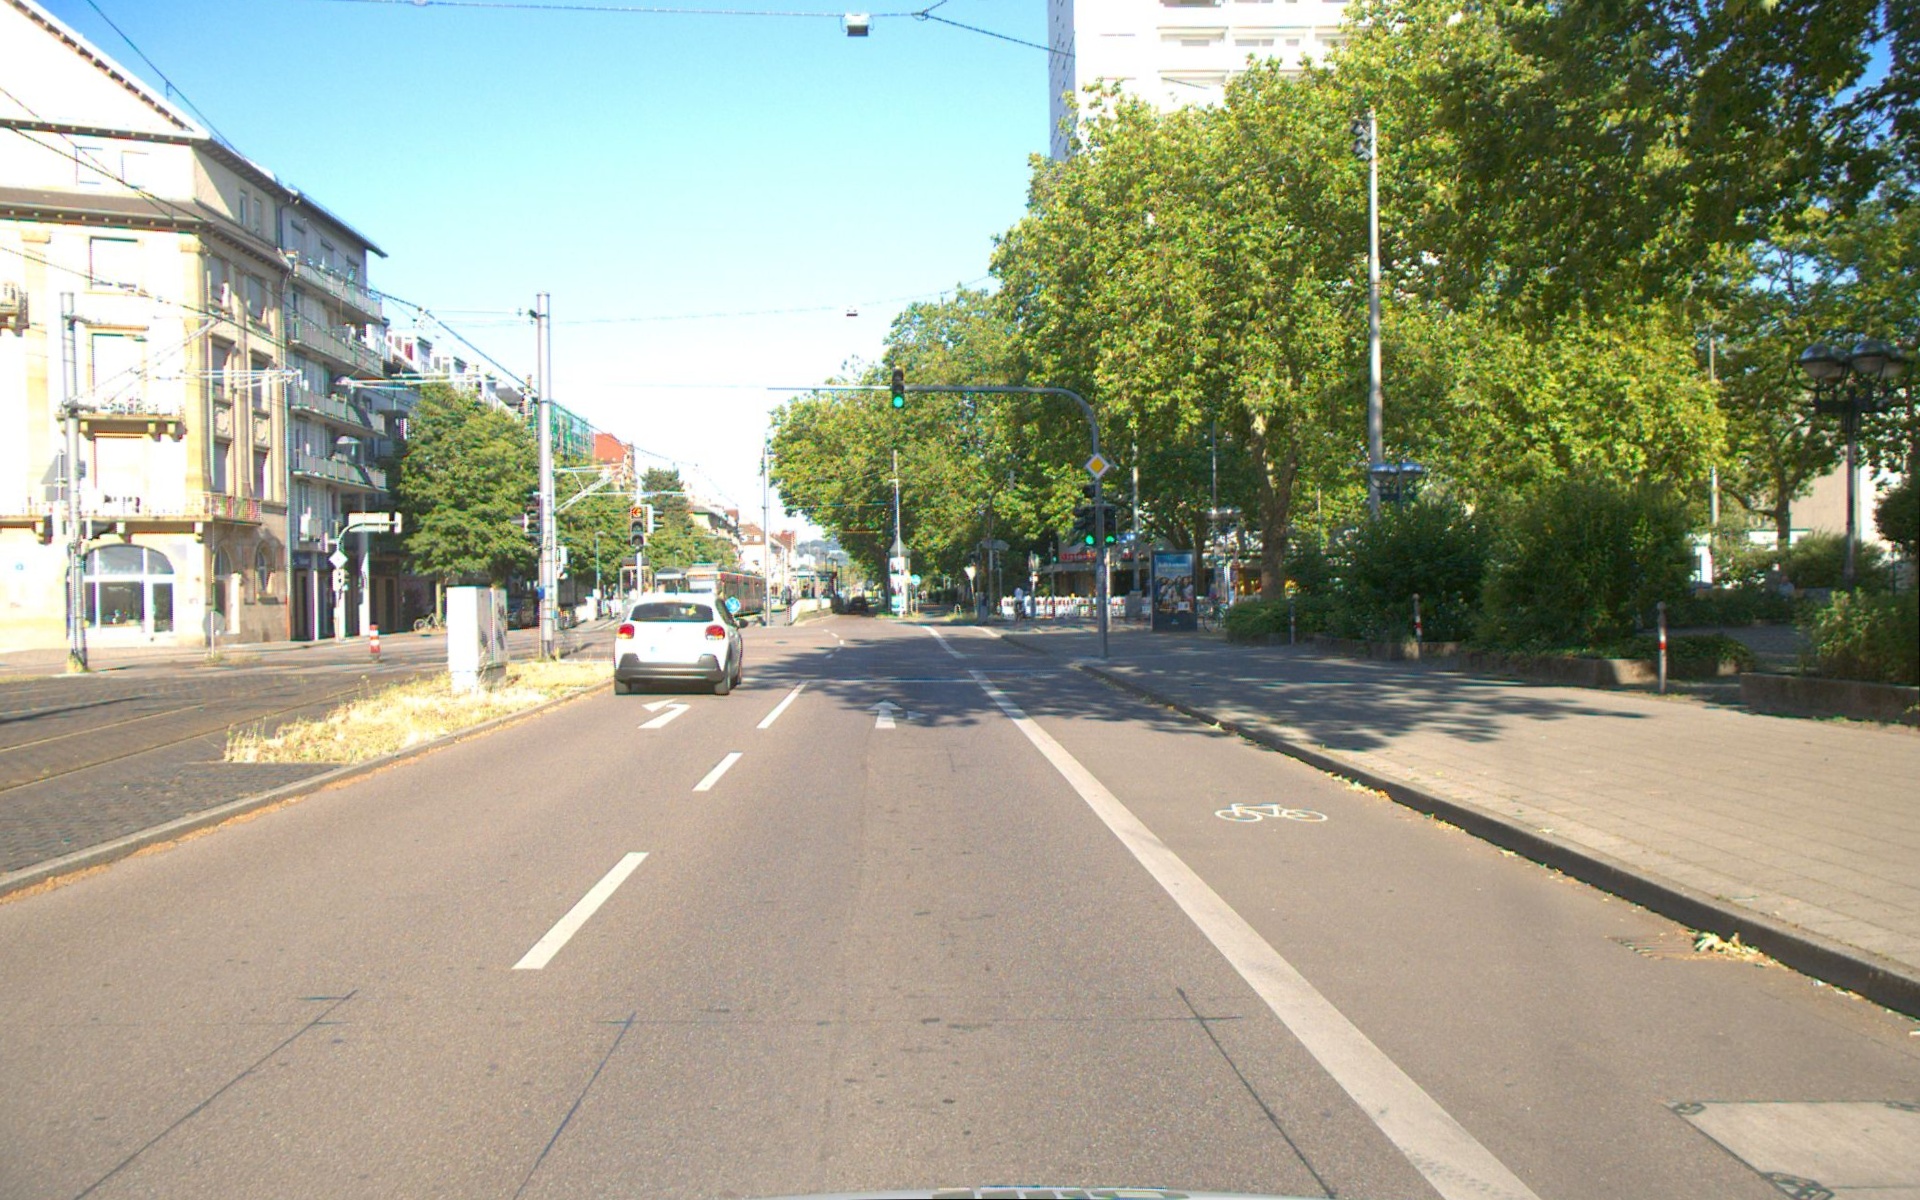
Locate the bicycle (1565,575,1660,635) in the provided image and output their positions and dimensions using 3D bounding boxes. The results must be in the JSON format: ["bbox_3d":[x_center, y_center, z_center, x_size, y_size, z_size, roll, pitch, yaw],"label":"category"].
[{"bbox_3d":[14.323,0.118,36.301,2.288,1.262,0.451,1,0,-24],"label":"bicycle"}]

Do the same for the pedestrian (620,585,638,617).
[{"bbox_3d":[-19.430,0.069,97.169,0.944,1.865,0.988,1,0,-9],"label":"pedestrian"}]

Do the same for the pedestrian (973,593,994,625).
[{"bbox_3d":[1.066,0.416,74.792,0.647,1.412,0.830,1,0,29],"label":"pedestrian"}]

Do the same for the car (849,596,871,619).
[{"bbox_3d":[-9.292,0.676,154.016,1.953,2.049,3.998,1,0,-2],"label":"car"}]

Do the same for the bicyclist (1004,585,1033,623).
[{"bbox_3d":[2.740,0.193,77.432,1.176,1.726,0.902,1,0,-8],"label":"bicyclist"}]

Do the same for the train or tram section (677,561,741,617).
[{"bbox_3d":[-16.415,-0.701,108.760,2.893,3.470,10.786,1,0,-2],"label":"train or tram section"}]

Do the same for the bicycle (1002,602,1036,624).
[{"bbox_3d":[2.742,0.590,77.386,1.176,0.951,2.569,1,0,-8],"label":"bicycle"}]

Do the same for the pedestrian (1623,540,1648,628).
[{"bbox_3d":[14.628,-0.351,35.838,0.384,1.898,0.339,1,0,3],"label":"pedestrian"}]

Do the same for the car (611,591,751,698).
[{"bbox_3d":[-4.198,0.623,25.364,1.710,1.487,3.642,1,0,-3],"label":"car"}]
